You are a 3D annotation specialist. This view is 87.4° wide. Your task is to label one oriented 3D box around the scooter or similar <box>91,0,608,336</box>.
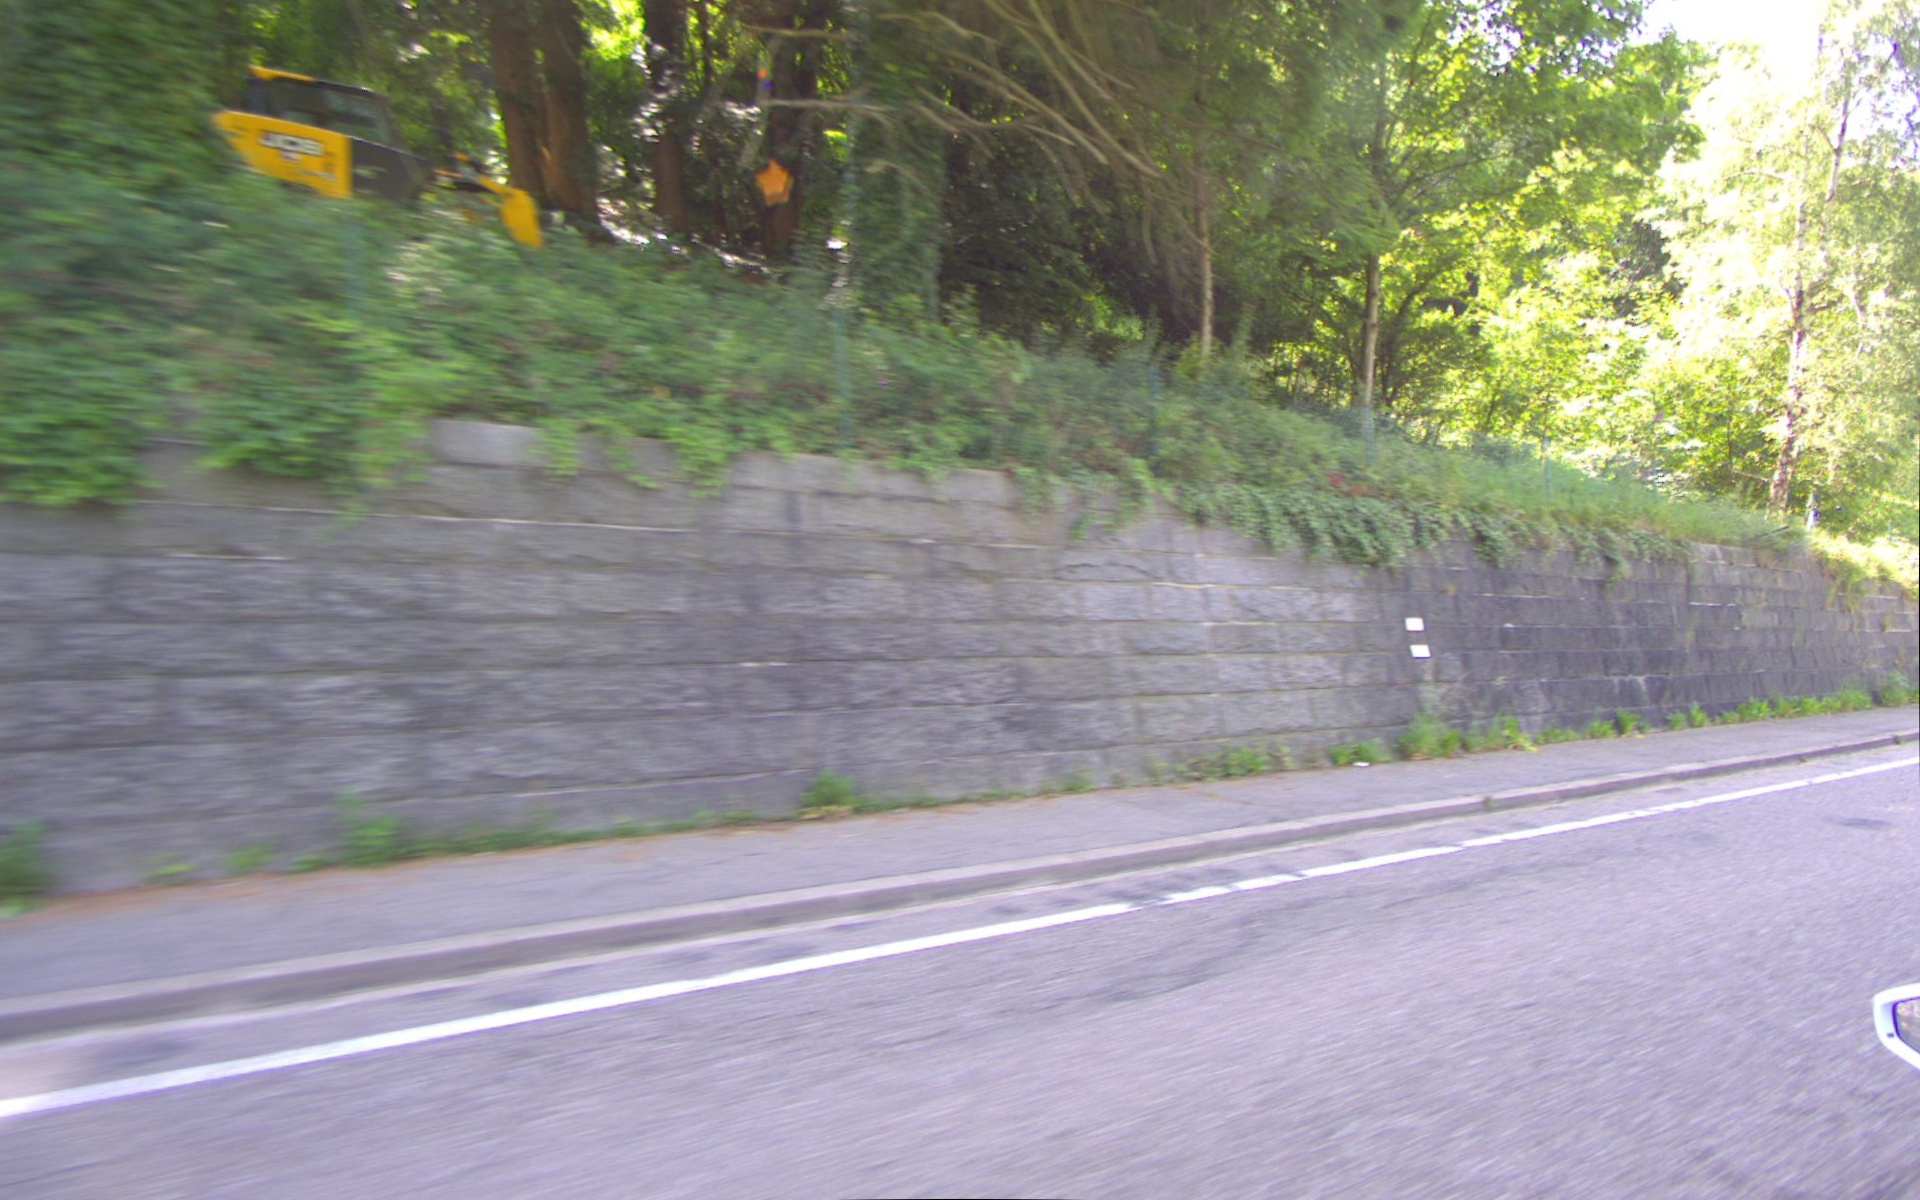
[{"bbox_3d":[-6.232,-4.361,10.820,4.348,2.054,1.970,2,4,-27],"label":"scooter or similar"}]
